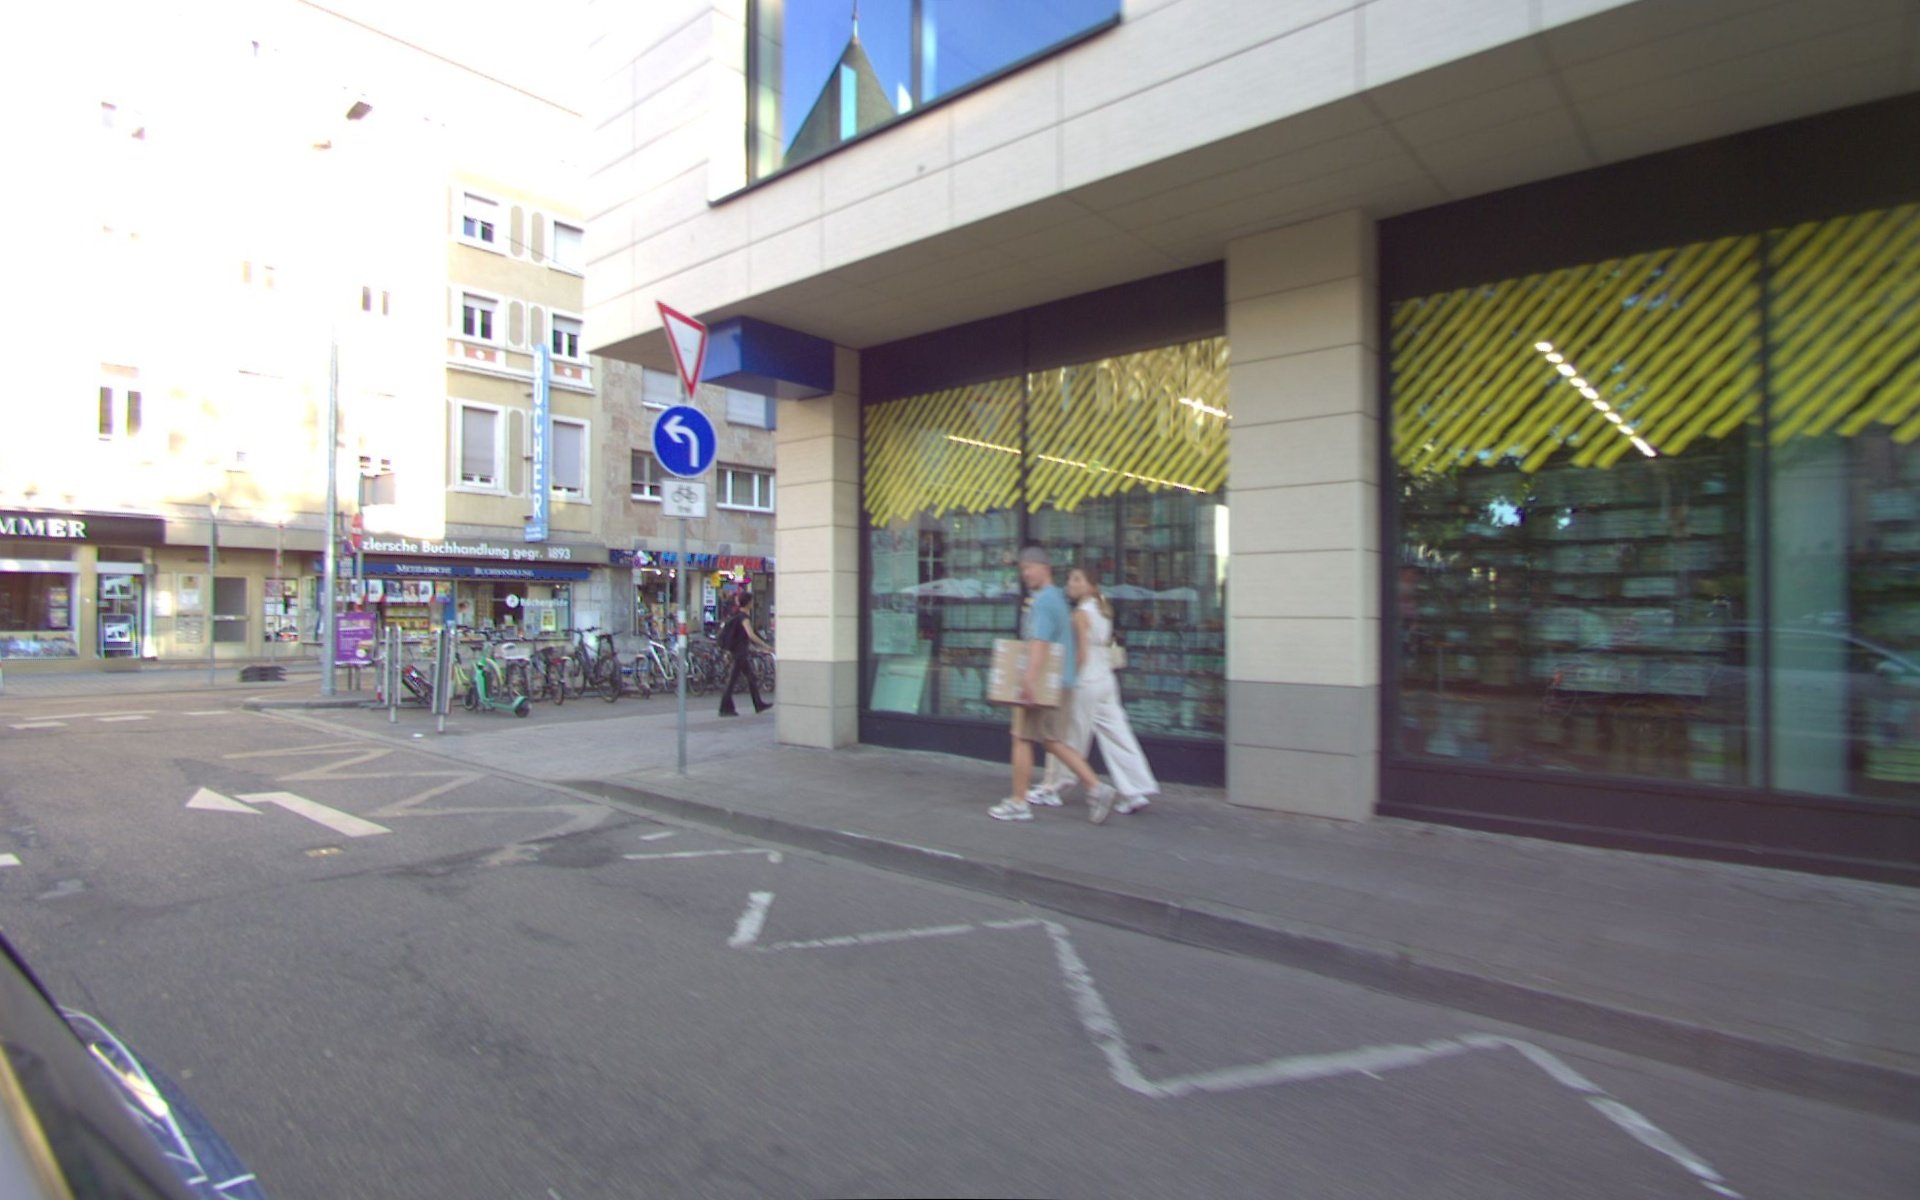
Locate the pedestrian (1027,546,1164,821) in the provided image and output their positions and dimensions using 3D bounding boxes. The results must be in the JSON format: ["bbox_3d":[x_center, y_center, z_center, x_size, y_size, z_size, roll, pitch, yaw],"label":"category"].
[{"bbox_3d":[0.899,0.519,6.690,0.646,1.687,0.665,-1,-1,38],"label":"pedestrian"}]

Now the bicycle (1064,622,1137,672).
[{"bbox_3d":[3.786,1.240,27.296,1.977,1.264,0.506,0,0,39],"label":"bicycle"}]

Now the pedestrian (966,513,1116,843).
[{"bbox_3d":[0.495,0.443,6.152,0.646,1.850,0.665,-1,-1,38],"label":"pedestrian"}]

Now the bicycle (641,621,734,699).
[{"bbox_3d":[-4.778,1.014,17.659,1.977,1.264,0.506,0,0,39],"label":"bicycle"}]

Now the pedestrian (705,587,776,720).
[{"bbox_3d":[-2.851,0.680,13.115,0.857,1.670,0.620,0,-1,-16],"label":"pedestrian"}]

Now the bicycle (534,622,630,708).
[{"bbox_3d":[-6.044,0.997,16.134,1.977,1.264,0.506,0,0,39],"label":"bicycle"}]

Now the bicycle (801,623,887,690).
[{"bbox_3d":[-2.365,1.111,20.444,1.977,1.264,0.506,0,0,39],"label":"bicycle"}]

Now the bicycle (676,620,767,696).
[{"bbox_3d":[-4.309,1.013,18.190,1.977,1.264,0.506,0,0,39],"label":"bicycle"}]

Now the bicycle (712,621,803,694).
[{"bbox_3d":[-3.770,1.028,18.722,1.977,1.264,0.506,0,0,39],"label":"bicycle"}]

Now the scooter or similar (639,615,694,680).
[{"bbox_3d":[-5.754,0.905,19.795,1.269,1.221,0.383,0,0,39],"label":"scooter or similar"}]

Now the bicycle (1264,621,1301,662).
[{"bbox_3d":[10.463,1.313,32.753,0.512,1.264,1.954,0,0,37],"label":"bicycle"}]

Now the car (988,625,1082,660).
[{"bbox_3d":[3.292,1.781,43.563,1.861,1.401,4.564,-1,-1,37],"label":"car"}]

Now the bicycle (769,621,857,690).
[{"bbox_3d":[-2.911,1.063,19.893,1.977,1.264,0.506,0,0,39],"label":"bicycle"}]

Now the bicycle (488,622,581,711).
[{"bbox_3d":[-6.584,0.984,15.613,1.978,1.264,0.506,0,0,41],"label":"bicycle"}]

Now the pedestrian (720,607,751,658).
[{"bbox_3d":[-7.677,1.114,34.656,0.665,1.720,0.792,-1,-1,40],"label":"pedestrian"}]

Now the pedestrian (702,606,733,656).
[{"bbox_3d":[-8.404,1.073,35.105,0.665,1.720,0.792,-1,-1,40],"label":"pedestrian"}]

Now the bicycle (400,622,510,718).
[{"bbox_3d":[-7.303,0.969,14.590,2.041,1.264,0.575,0,0,37],"label":"bicycle"}]

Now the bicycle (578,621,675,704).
[{"bbox_3d":[-5.530,1.003,16.718,1.976,1.264,0.507,0,0,38],"label":"bicycle"}]

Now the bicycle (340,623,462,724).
[{"bbox_3d":[-7.729,0.965,13.958,2.137,1.264,0.658,0,0,37],"label":"bicycle"}]

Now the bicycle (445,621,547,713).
[{"bbox_3d":[-6.955,0.968,15.120,1.976,1.264,0.507,0,0,37],"label":"bicycle"}]

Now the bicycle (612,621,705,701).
[{"bbox_3d":[-5.159,1.007,17.242,1.977,1.264,0.506,0,0,39],"label":"bicycle"}]

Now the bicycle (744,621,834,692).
[{"bbox_3d":[-3.296,1.053,19.402,1.976,1.264,0.507,0,0,38],"label":"bicycle"}]

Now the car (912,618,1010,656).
[{"bbox_3d":[0.095,1.410,39.895,1.861,1.401,3.950,-1,-1,37],"label":"car"}]

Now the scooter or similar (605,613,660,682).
[{"bbox_3d":[-6.315,0.899,19.510,1.269,1.270,0.383,0,0,39],"label":"scooter or similar"}]

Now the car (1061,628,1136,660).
[{"bbox_3d":[6.636,2.061,48.299,1.861,1.401,3.950,-1,-1,37],"label":"car"}]

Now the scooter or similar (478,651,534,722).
[{"bbox_3d":[-6.158,1.156,13.713,0.769,0.891,0.383,0,0,39],"label":"scooter or similar"}]
